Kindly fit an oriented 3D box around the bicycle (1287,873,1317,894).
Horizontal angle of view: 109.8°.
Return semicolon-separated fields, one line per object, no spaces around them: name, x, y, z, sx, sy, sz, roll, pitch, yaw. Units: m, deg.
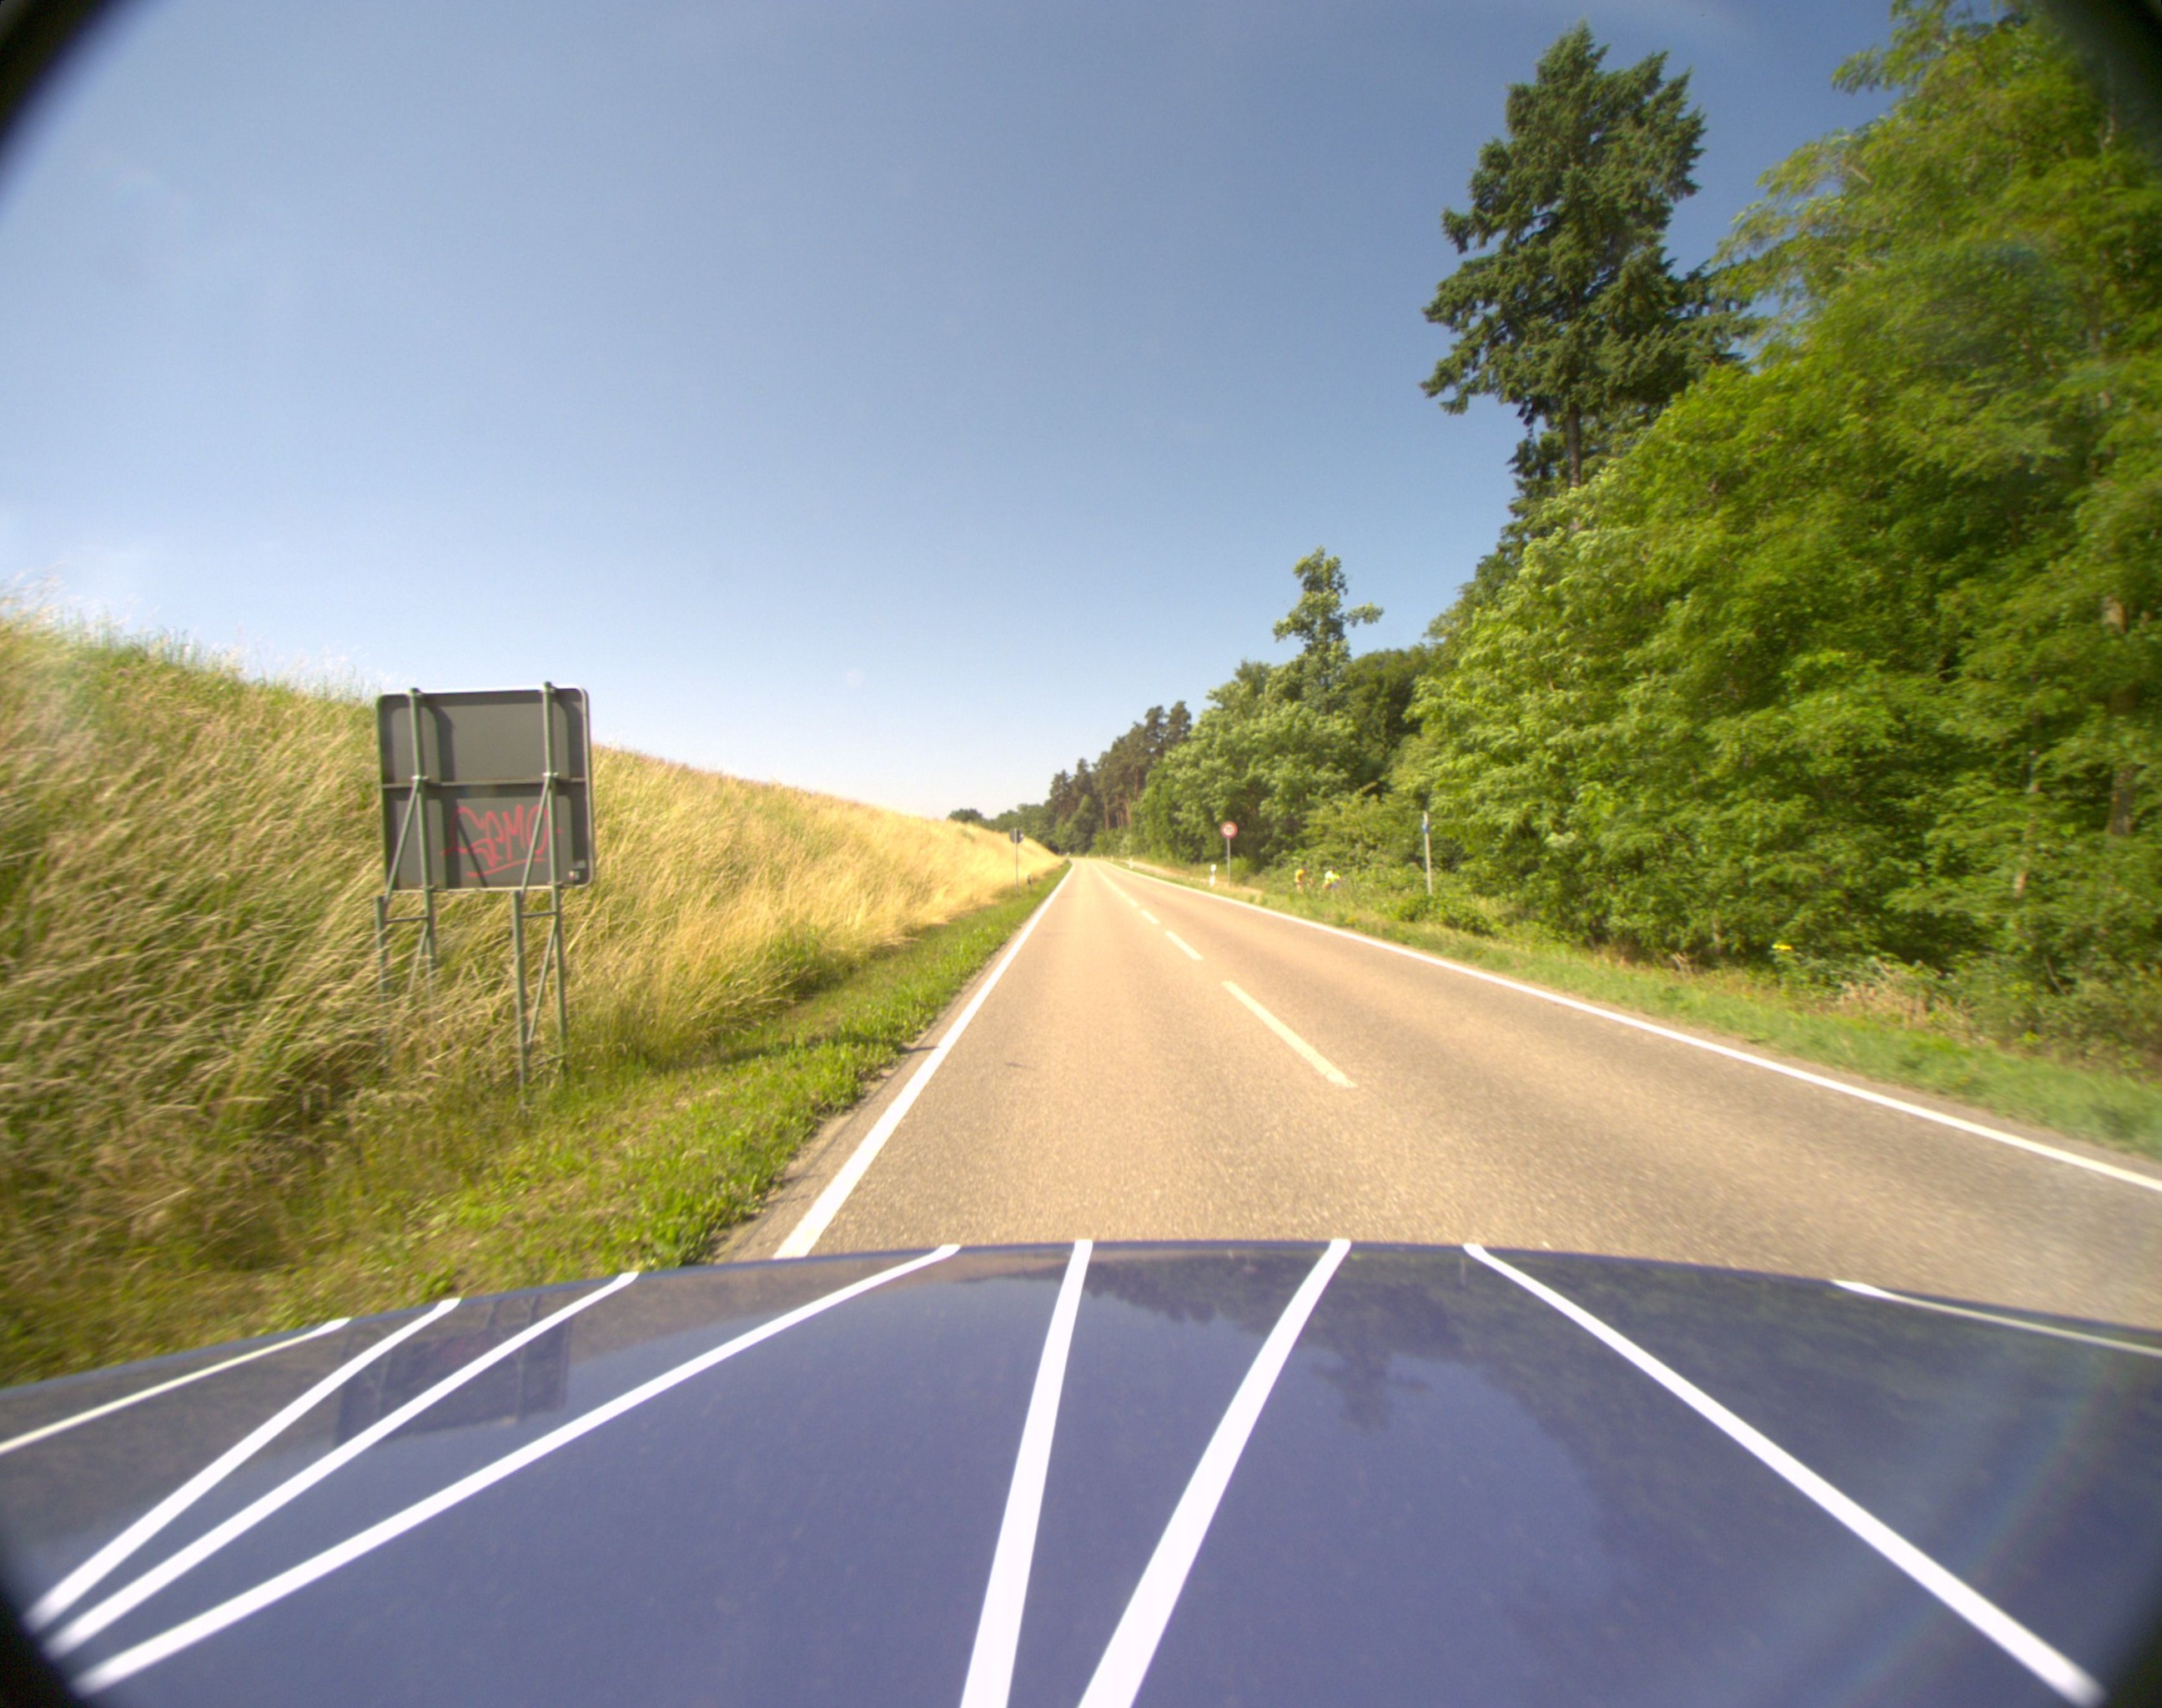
bicycle;9.325;1.233;32.148;0.641;0.783;2.136;0;0;1

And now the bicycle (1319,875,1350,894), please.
bicycle;10.795;1.287;32.443;0.620;0.677;2.136;0;0;0

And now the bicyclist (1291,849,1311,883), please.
bicyclist;9.308;0.510;32.163;0.606;1.407;0.702;0;2;0

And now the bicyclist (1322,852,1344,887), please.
bicyclist;10.760;0.661;32.455;0.606;1.408;0.702;-4;3;0
